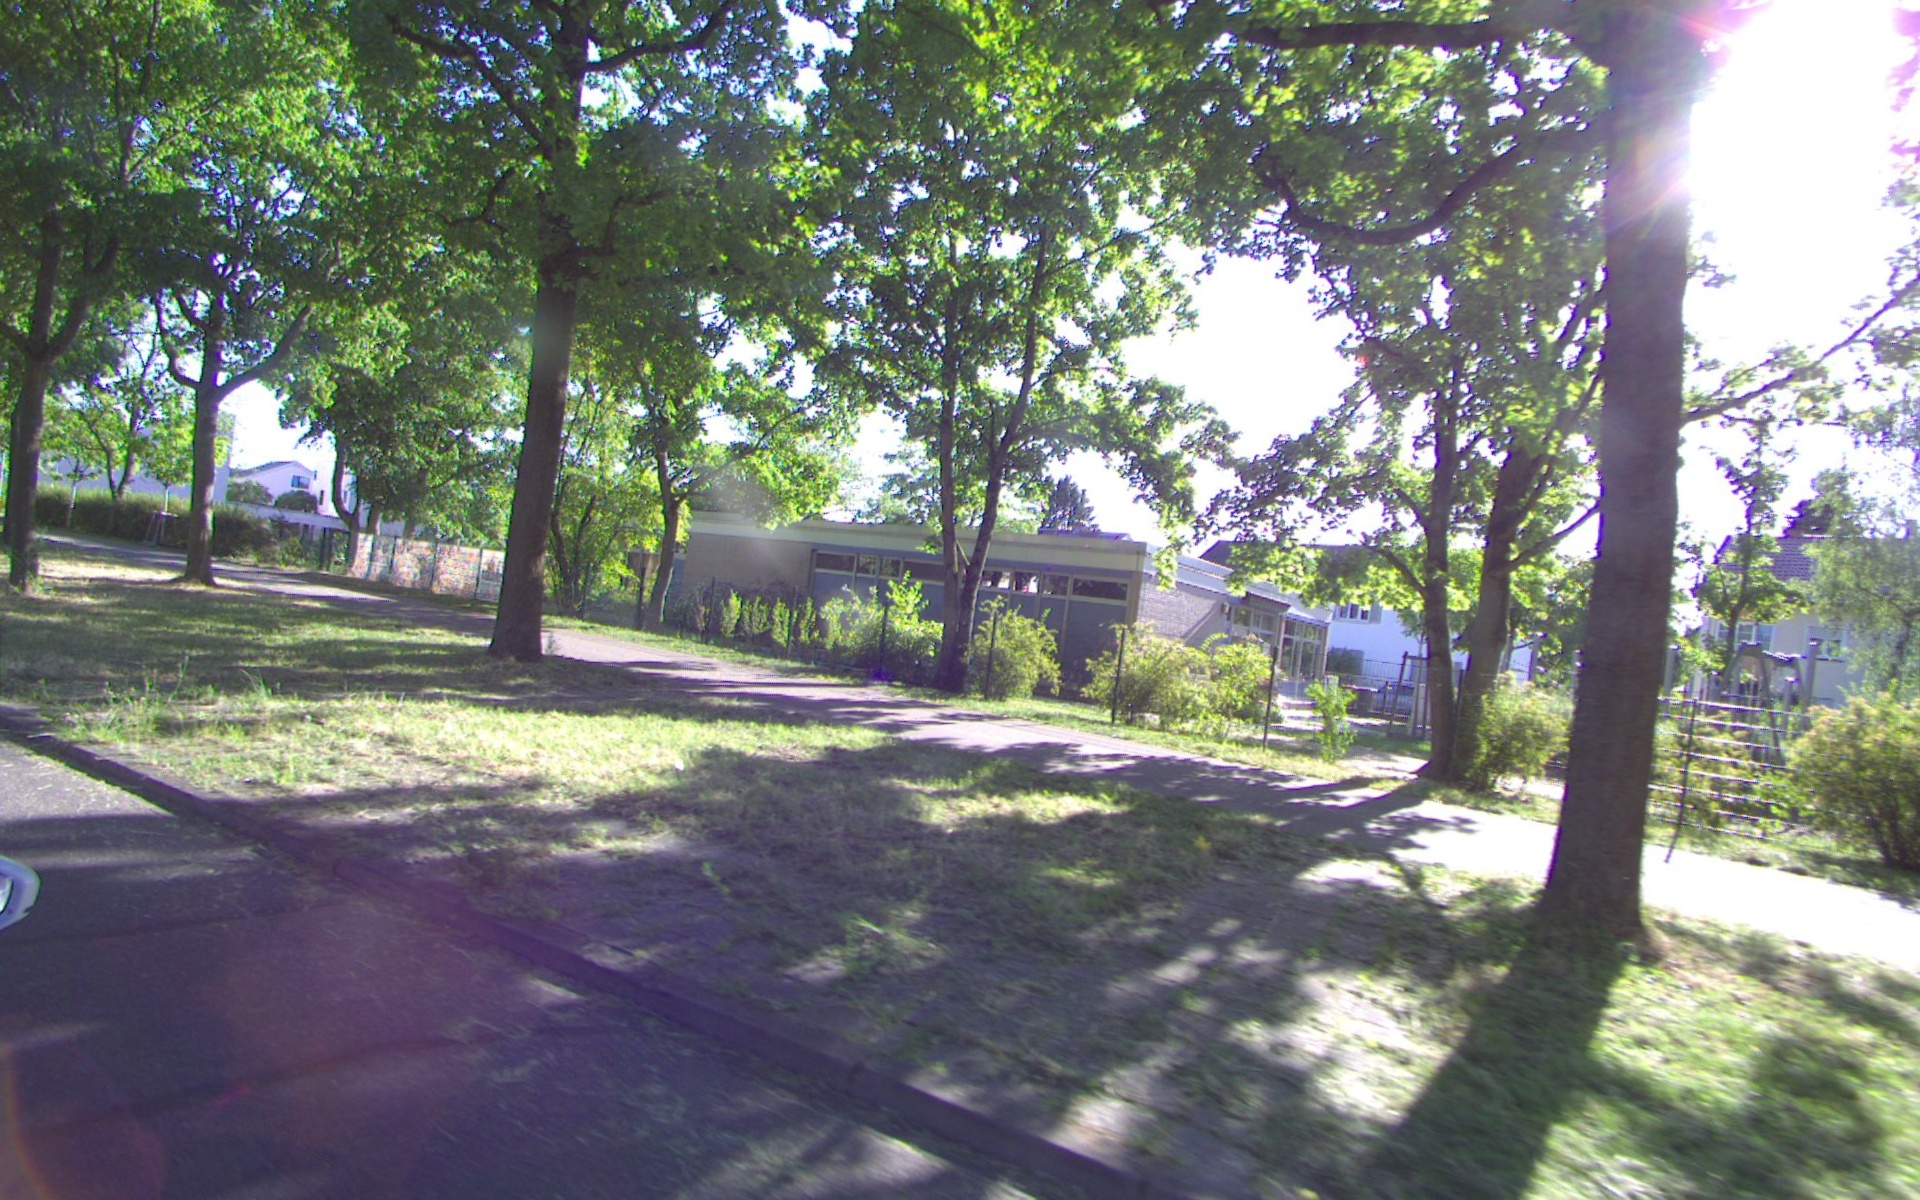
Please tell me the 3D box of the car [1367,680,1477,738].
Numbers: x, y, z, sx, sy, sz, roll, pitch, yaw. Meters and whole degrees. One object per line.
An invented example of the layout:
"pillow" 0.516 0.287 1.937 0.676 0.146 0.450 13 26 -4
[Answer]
"car" 20.423 4.805 44.518 3.941 1.970 1.994 6 -2 38
